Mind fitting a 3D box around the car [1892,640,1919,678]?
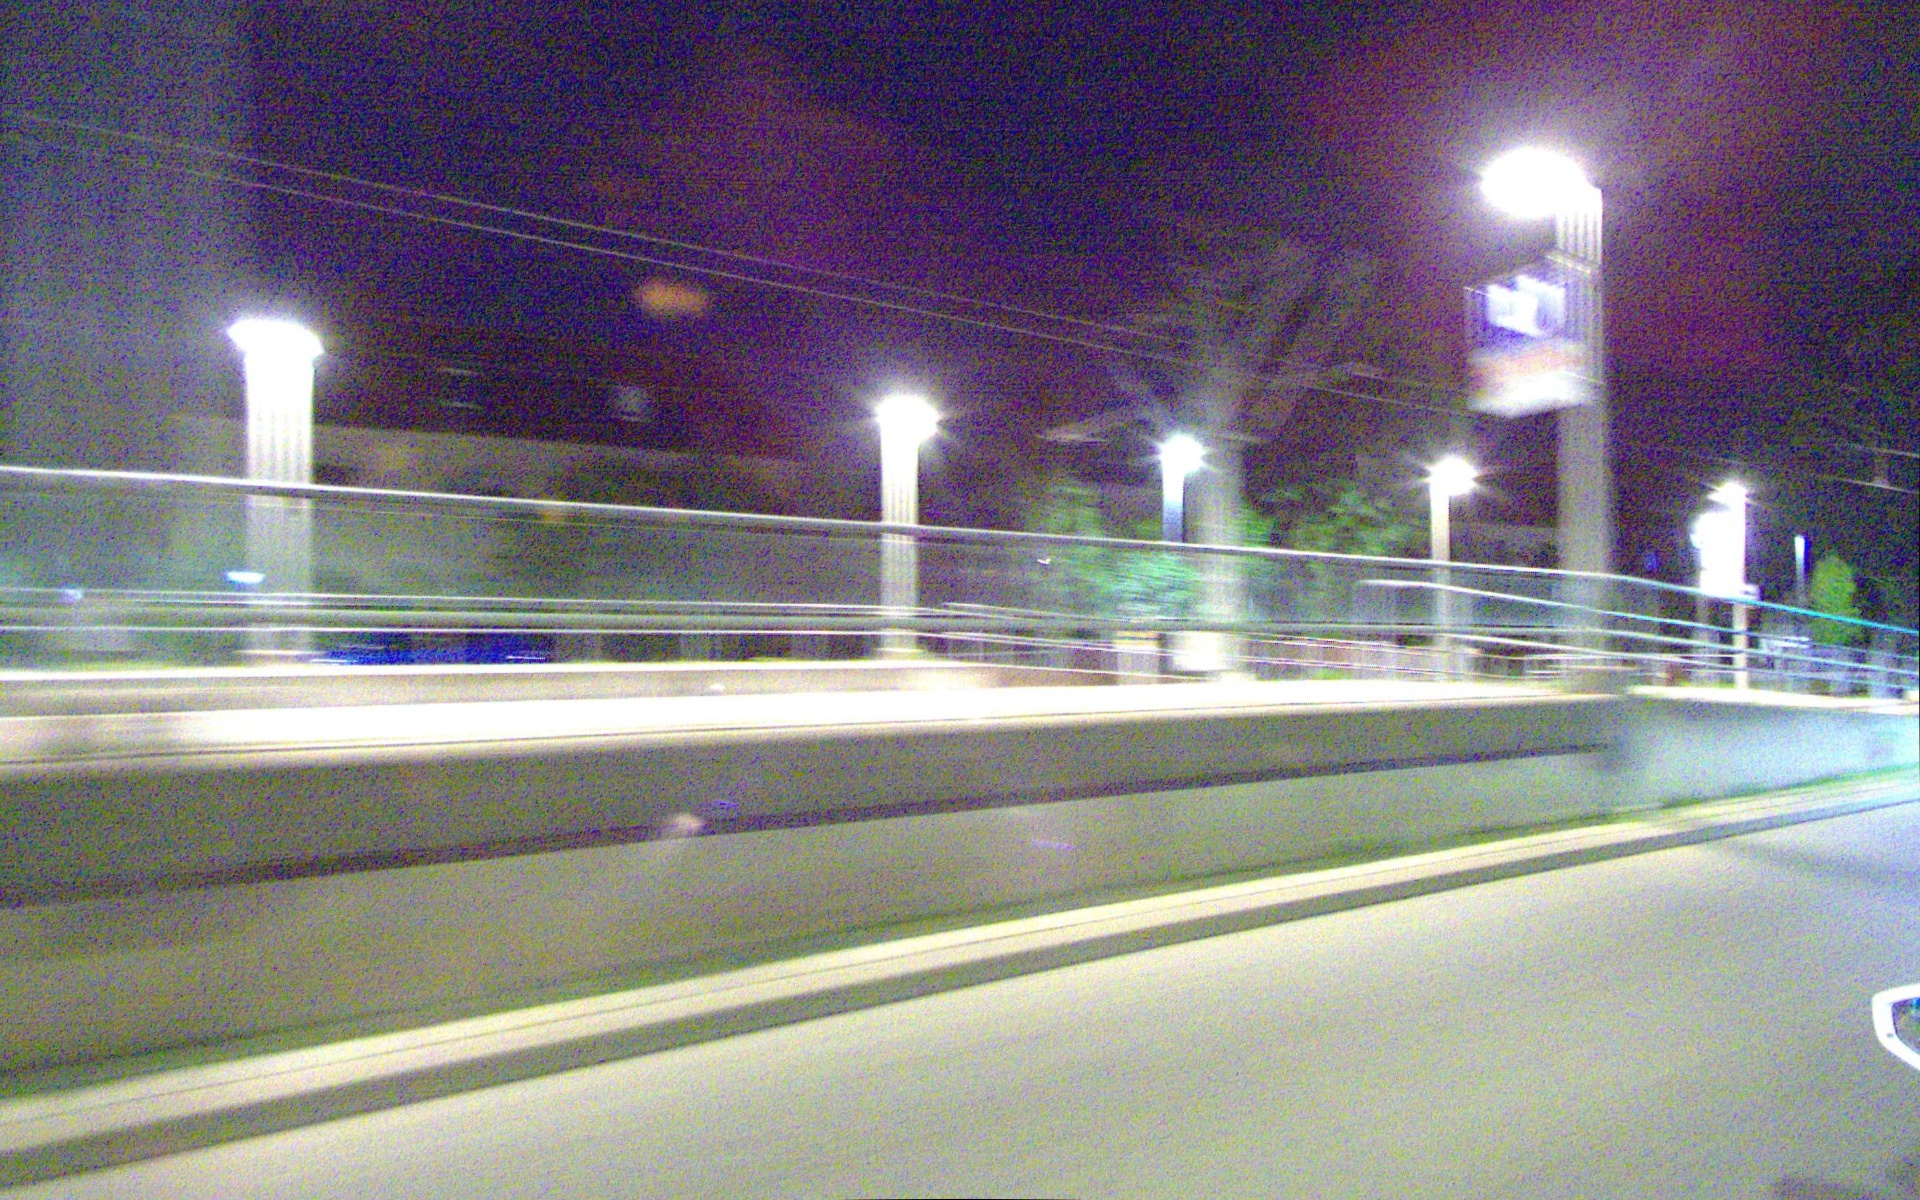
[{"bbox_3d":[37.467,2.210,38.052,4.484,1.356,1.641,1,-6,-27],"label":"car"}]
